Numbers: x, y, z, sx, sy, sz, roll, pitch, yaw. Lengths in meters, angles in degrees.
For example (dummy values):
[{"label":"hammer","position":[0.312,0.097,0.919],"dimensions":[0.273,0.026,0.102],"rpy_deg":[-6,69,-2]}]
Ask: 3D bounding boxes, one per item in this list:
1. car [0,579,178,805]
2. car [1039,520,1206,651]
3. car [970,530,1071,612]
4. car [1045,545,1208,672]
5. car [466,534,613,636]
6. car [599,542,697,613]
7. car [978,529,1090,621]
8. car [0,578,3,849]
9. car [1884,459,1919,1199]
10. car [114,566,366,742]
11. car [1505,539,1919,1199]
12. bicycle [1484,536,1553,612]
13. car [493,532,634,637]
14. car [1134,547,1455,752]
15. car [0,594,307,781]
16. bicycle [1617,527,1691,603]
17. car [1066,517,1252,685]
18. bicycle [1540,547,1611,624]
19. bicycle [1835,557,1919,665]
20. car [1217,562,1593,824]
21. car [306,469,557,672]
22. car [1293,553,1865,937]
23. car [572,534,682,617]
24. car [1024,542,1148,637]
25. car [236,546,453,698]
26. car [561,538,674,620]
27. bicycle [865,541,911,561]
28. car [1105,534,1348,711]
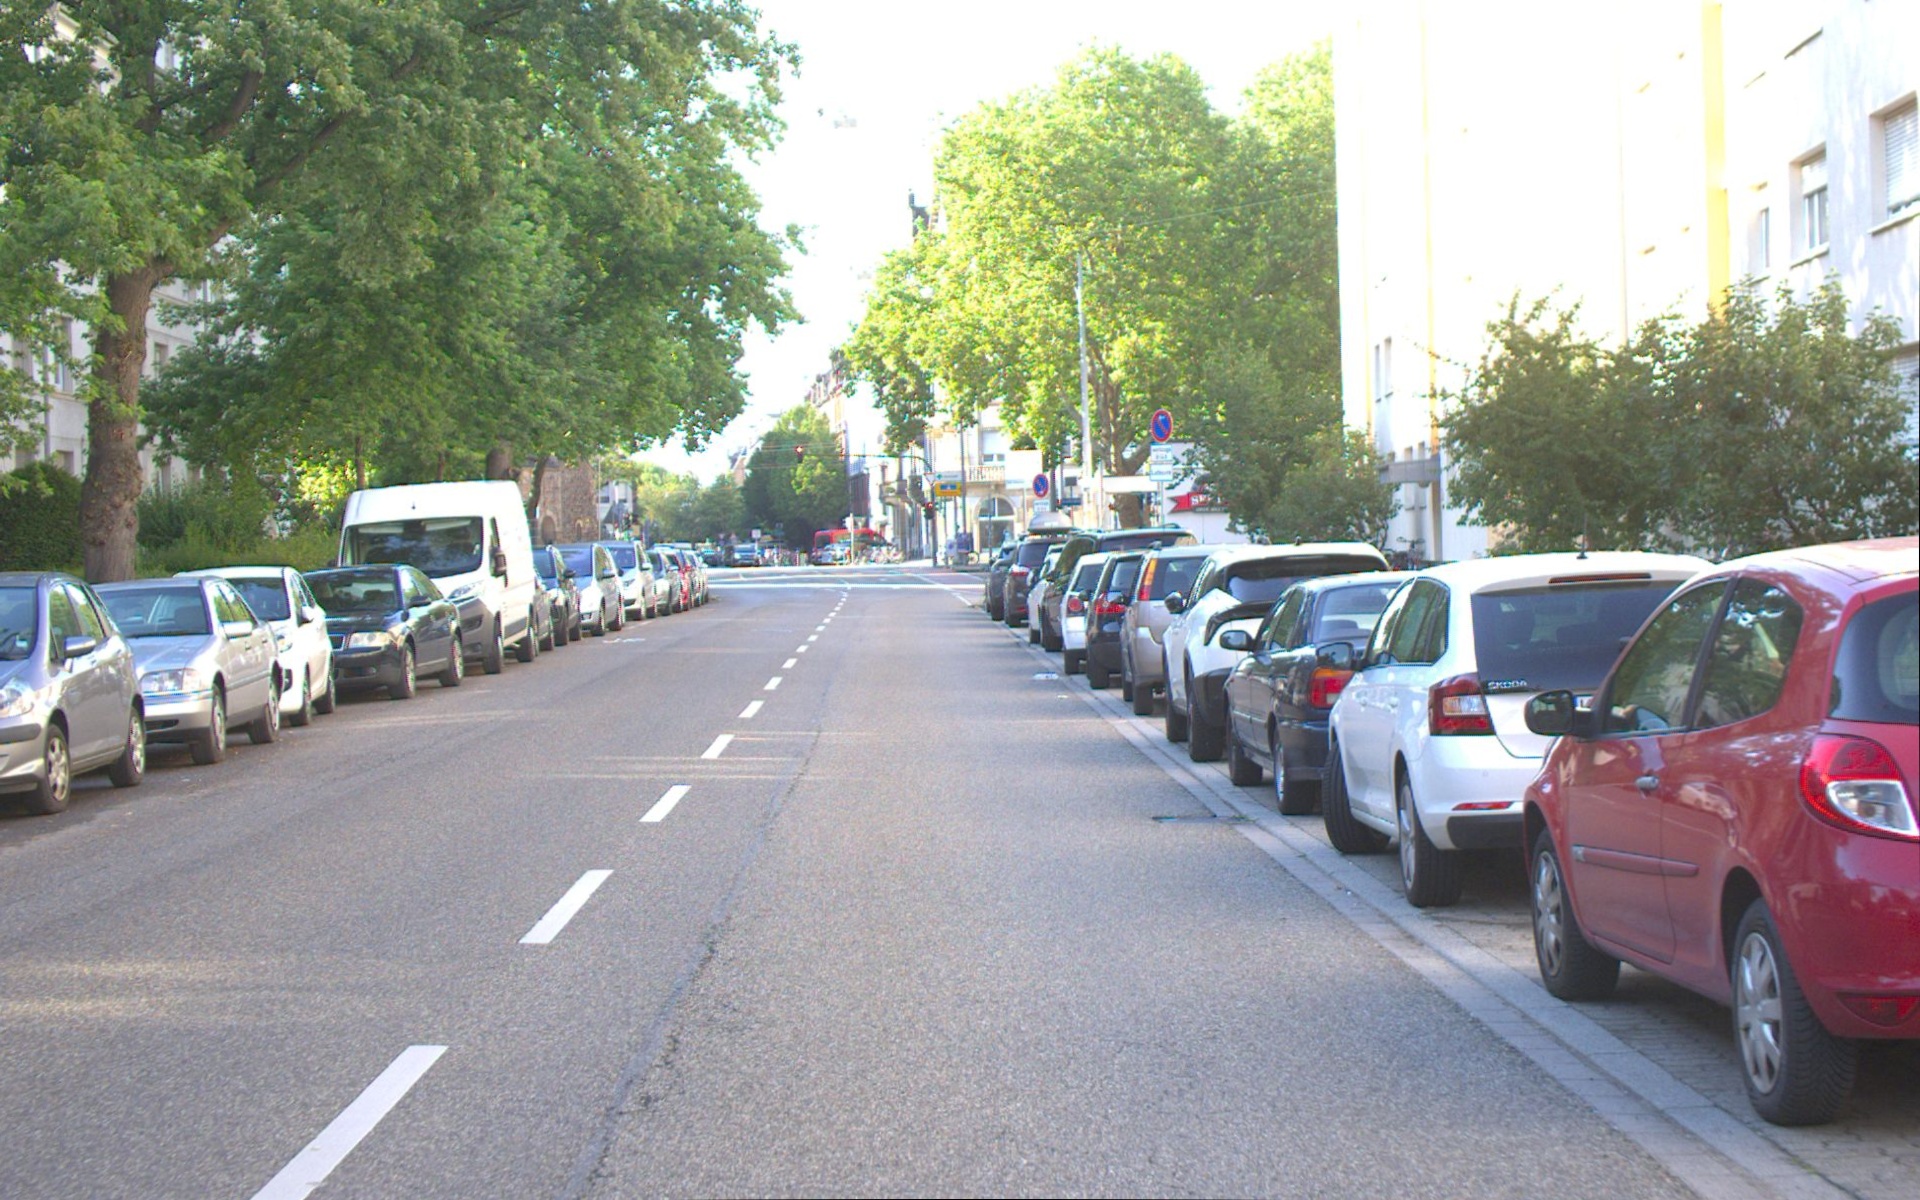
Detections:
[{"label":"car","position":[-6.434,0.541,22.535],"dimensions":[1.873,1.351,4.000],"rpy_deg":[0,0,-3]},{"label":"car","position":[2.215,-0.201,48.101],"dimensions":[2.024,1.744,4.767],"rpy_deg":[0,0,-1]},{"label":"car","position":[1.230,-0.592,71.472],"dimensions":[1.927,1.653,4.678],"rpy_deg":[0,0,-1]},{"label":"car","position":[2.020,0.095,42.790],"dimensions":[1.837,1.496,4.172],"rpy_deg":[0,0,0]},{"label":"car","position":[-6.600,-0.238,54.394],"dimensions":[1.870,1.553,4.366],"rpy_deg":[0,0,-1]},{"label":"car","position":[-6.961,-0.500,77.157],"dimensions":[1.870,1.553,4.497],"rpy_deg":[0,0,-1]},{"label":"car","position":[1.383,-0.499,65.648],"dimensions":[1.897,1.645,4.343],"rpy_deg":[-2,1,-1]},{"label":"car","position":[-6.341,0.656,17.693],"dimensions":[1.873,1.547,4.000],"rpy_deg":[0,0,-3]},{"label":"car","position":[2.684,0.561,4.157],"dimensions":[1.771,1.672,4.647],"rpy_deg":[-2,0,-1]},{"label":"car","position":[-6.703,0.472,32.290],"dimensions":[1.707,1.568,3.261],"rpy_deg":[0,0,-1]},{"label":"car","position":[2.869,0.651,10.322],"dimensions":[1.771,1.611,4.000],"rpy_deg":[0,0,-1]},{"label":"bicycle","position":[8.622,-0.415,53.148],"dimensions":[0.600,1.078,2.393],"rpy_deg":[-2,2,-1]},{"label":"car","position":[-6.960,-0.312,60.755],"dimensions":[1.871,1.553,5.057],"rpy_deg":[-6,2,-1]},{"label":"car","position":[2.452,0.341,26.142],"dimensions":[1.873,1.438,4.000],"rpy_deg":[0,0,-3]},{"label":"car","position":[-6.483,0.632,27.407],"dimensions":[1.873,1.351,4.654],"rpy_deg":[0,0,-3]},{"label":"bicycle","position":[10.750,-0.558,53.321],"dimensions":[0.600,1.078,2.393],"rpy_deg":[-2,2,-1]},{"label":"car","position":[2.153,0.001,38.132],"dimensions":[1.837,1.766,3.978],"rpy_deg":[0,0,0]},{"label":"bicycle","position":[9.502,-0.241,53.127],"dimensions":[0.600,1.078,2.393],"rpy_deg":[-2,2,-1]},{"label":"bicycle","position":[10.246,0.107,38.096],"dimensions":[0.493,1.109,2.394],"rpy_deg":[-6,0,3]},{"label":"car","position":[2.604,0.503,21.005],"dimensions":[1.661,1.433,4.313],"rpy_deg":[0,0,-1]},{"label":"car","position":[-6.720,-0.372,44.444],"dimensions":[2.358,2.437,6.165],"rpy_deg":[0,0,-1]},{"label":"car","position":[2.667,0.570,15.732],"dimensions":[1.771,1.449,4.000],"rpy_deg":[-3,0,-1]},{"label":"car","position":[-6.961,-0.511,72.189],"dimensions":[1.916,1.672,4.974],"rpy_deg":[0,0,-1]},{"label":"car","position":[1.923,-0.163,53.588],"dimensions":[1.679,1.410,4.724],"rpy_deg":[0,0,-1]},{"label":"car","position":[-6.636,0.216,37.399],"dimensions":[1.707,1.568,3.819],"rpy_deg":[0,0,-1]},{"label":"car","position":[-6.668,-0.404,67.225],"dimensions":[1.870,1.553,4.101],"rpy_deg":[0,0,-1]},{"label":"bicycle","position":[-4.396,-2.979,209.906],"dimensions":[2.802,1.199,0.510],"rpy_deg":[0,0,-7]},{"label":"car","position":[2.494,0.195,33.190],"dimensions":[1.962,1.600,4.279],"rpy_deg":[0,0,-1]}]
